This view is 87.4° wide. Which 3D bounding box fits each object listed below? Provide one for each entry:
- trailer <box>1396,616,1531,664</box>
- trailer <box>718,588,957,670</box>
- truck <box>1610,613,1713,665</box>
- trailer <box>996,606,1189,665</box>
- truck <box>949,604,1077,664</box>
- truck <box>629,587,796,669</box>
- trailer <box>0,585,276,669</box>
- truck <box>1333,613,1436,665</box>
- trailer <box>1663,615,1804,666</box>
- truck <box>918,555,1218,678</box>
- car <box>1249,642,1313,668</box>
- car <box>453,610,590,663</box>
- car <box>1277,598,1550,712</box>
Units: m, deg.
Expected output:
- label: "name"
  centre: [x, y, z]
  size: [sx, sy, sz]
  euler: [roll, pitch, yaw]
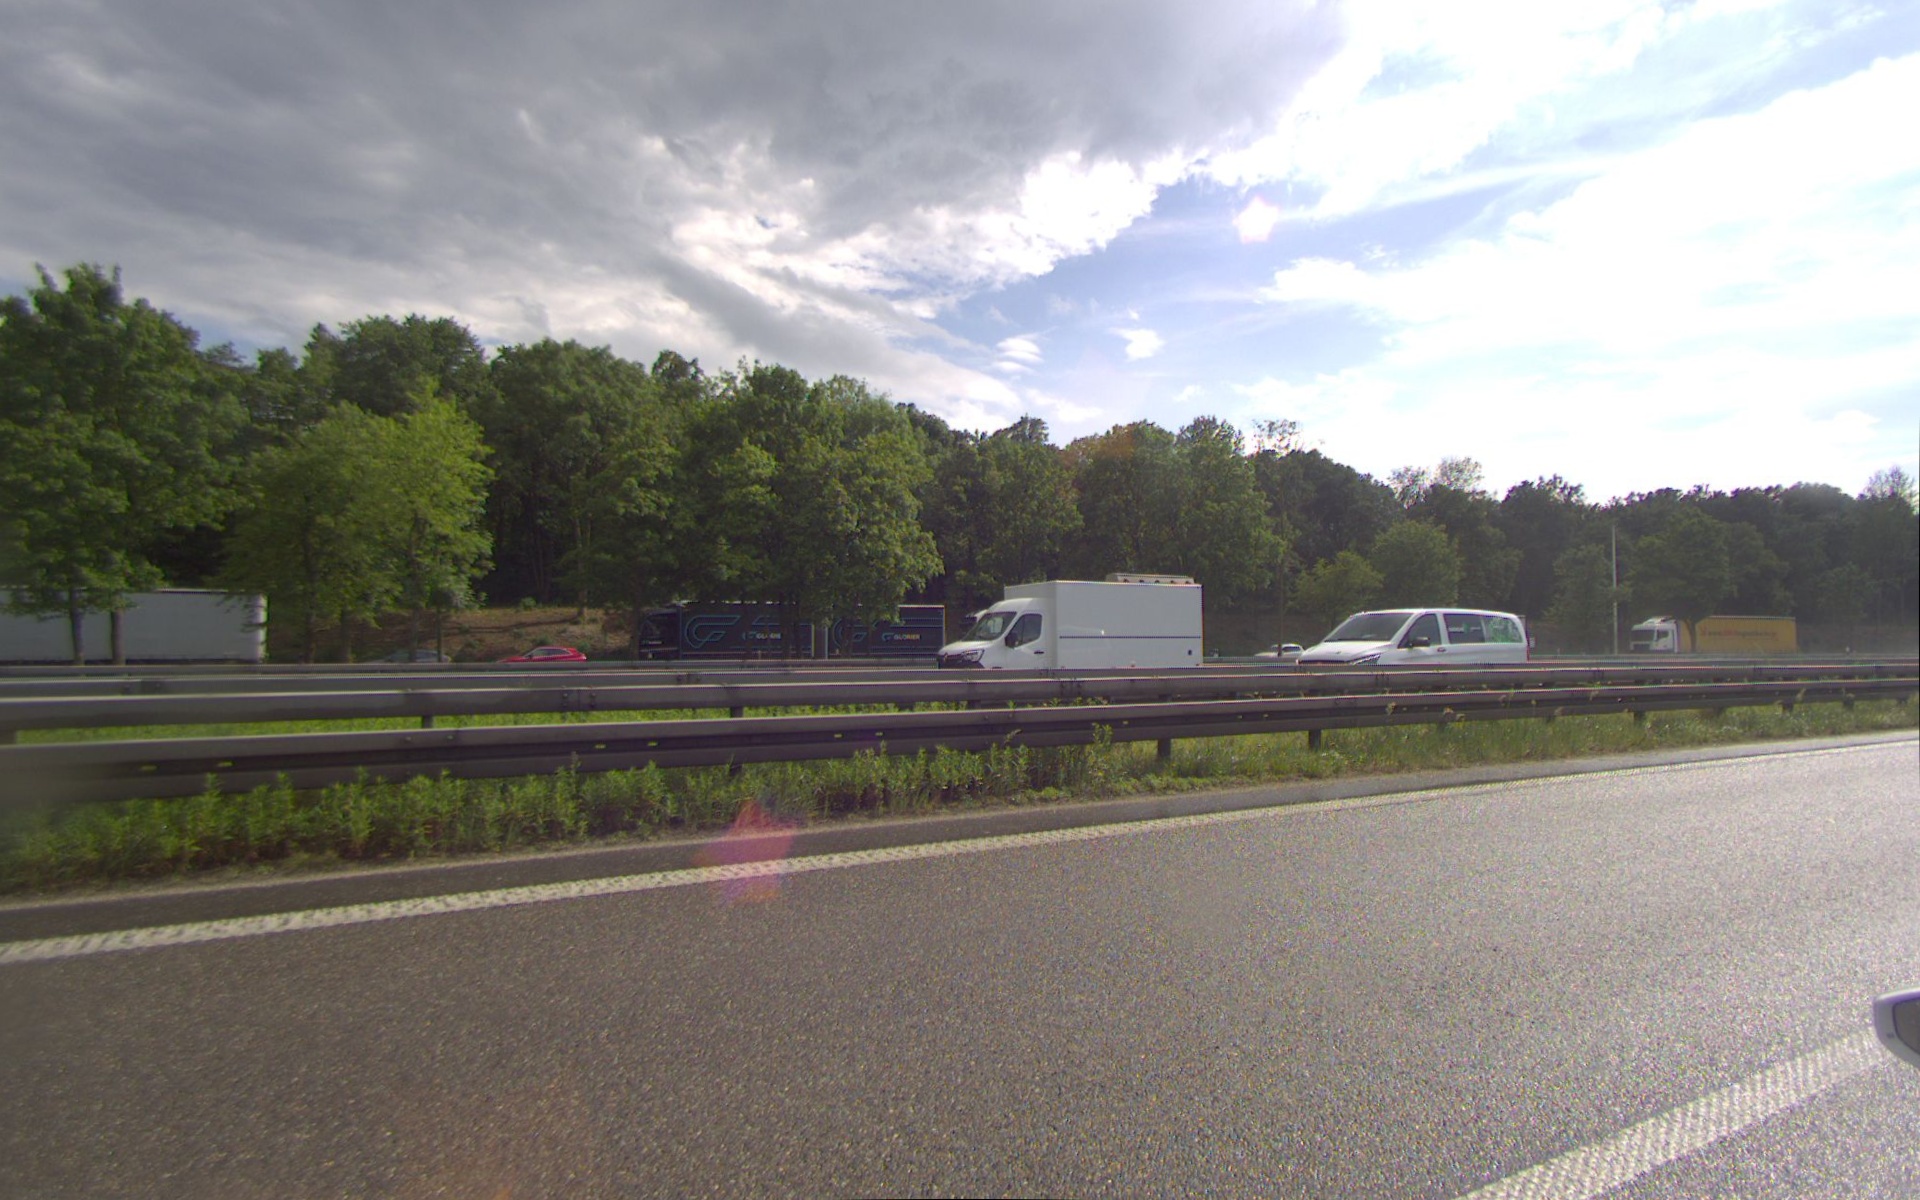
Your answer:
- label: "trailer"
  centre: [40.530, 3.228, 80.835]
  size: [10.342, 3.697, 3.783]
  euler: [1, -1, -21]
- label: "trailer"
  centre: [-7.102, 1.745, 59.575]
  size: [13.627, 4.464, 3.774]
  euler: [1, -1, -28]
- label: "truck"
  centre: [61.137, 3.376, 87.637]
  size: [6.928, 4.171, 3.788]
  euler: [2, 0, -15]
- label: "trailer"
  centre: [9.049, 2.378, 67.546]
  size: [13.177, 3.697, 3.774]
  euler: [1, -2, -28]
- label: "truck"
  centre: [3.385, 2.197, 64.532]
  size: [7.263, 3.637, 3.772]
  euler: [2, 0, -28]
- label: "truck"
  centre: [-13.770, 1.582, 55.933]
  size: [8.312, 4.290, 3.772]
  euler: [2, 0, -28]
- label: "trailer"
  centre: [-36.115, 1.139, 41.858]
  size: [12.332, 3.259, 3.331]
  euler: [2, -2, -31]
- label: "truck"
  centre: [32.780, 3.012, 77.632]
  size: [6.610, 3.709, 3.779]
  euler: [2, 0, -23]
- label: "trailer"
  centre: [69.138, 3.642, 89.800]
  size: [11.530, 4.171, 3.788]
  euler: [2, 0, -15]
- label: "truck"
  centre: [2.781, 0.461, 25.199]
  size: [7.102, 2.717, 2.831]
  euler: [2, 0, -28]
- label: "car"
  centre: [23.598, 4.041, 73.837]
  size: [4.310, 1.741, 2.052]
  euler: [2, 0, -26]
- label: "car"
  centre: [-22.174, 1.860, 50.808]
  size: [6.133, 2.515, 2.781]
  euler: [2, 0, -28]
- label: "car"
  centre: [8.702, 1.006, 19.143]
  size: [5.196, 1.916, 2.037]
  euler: [2, 0, -29]
